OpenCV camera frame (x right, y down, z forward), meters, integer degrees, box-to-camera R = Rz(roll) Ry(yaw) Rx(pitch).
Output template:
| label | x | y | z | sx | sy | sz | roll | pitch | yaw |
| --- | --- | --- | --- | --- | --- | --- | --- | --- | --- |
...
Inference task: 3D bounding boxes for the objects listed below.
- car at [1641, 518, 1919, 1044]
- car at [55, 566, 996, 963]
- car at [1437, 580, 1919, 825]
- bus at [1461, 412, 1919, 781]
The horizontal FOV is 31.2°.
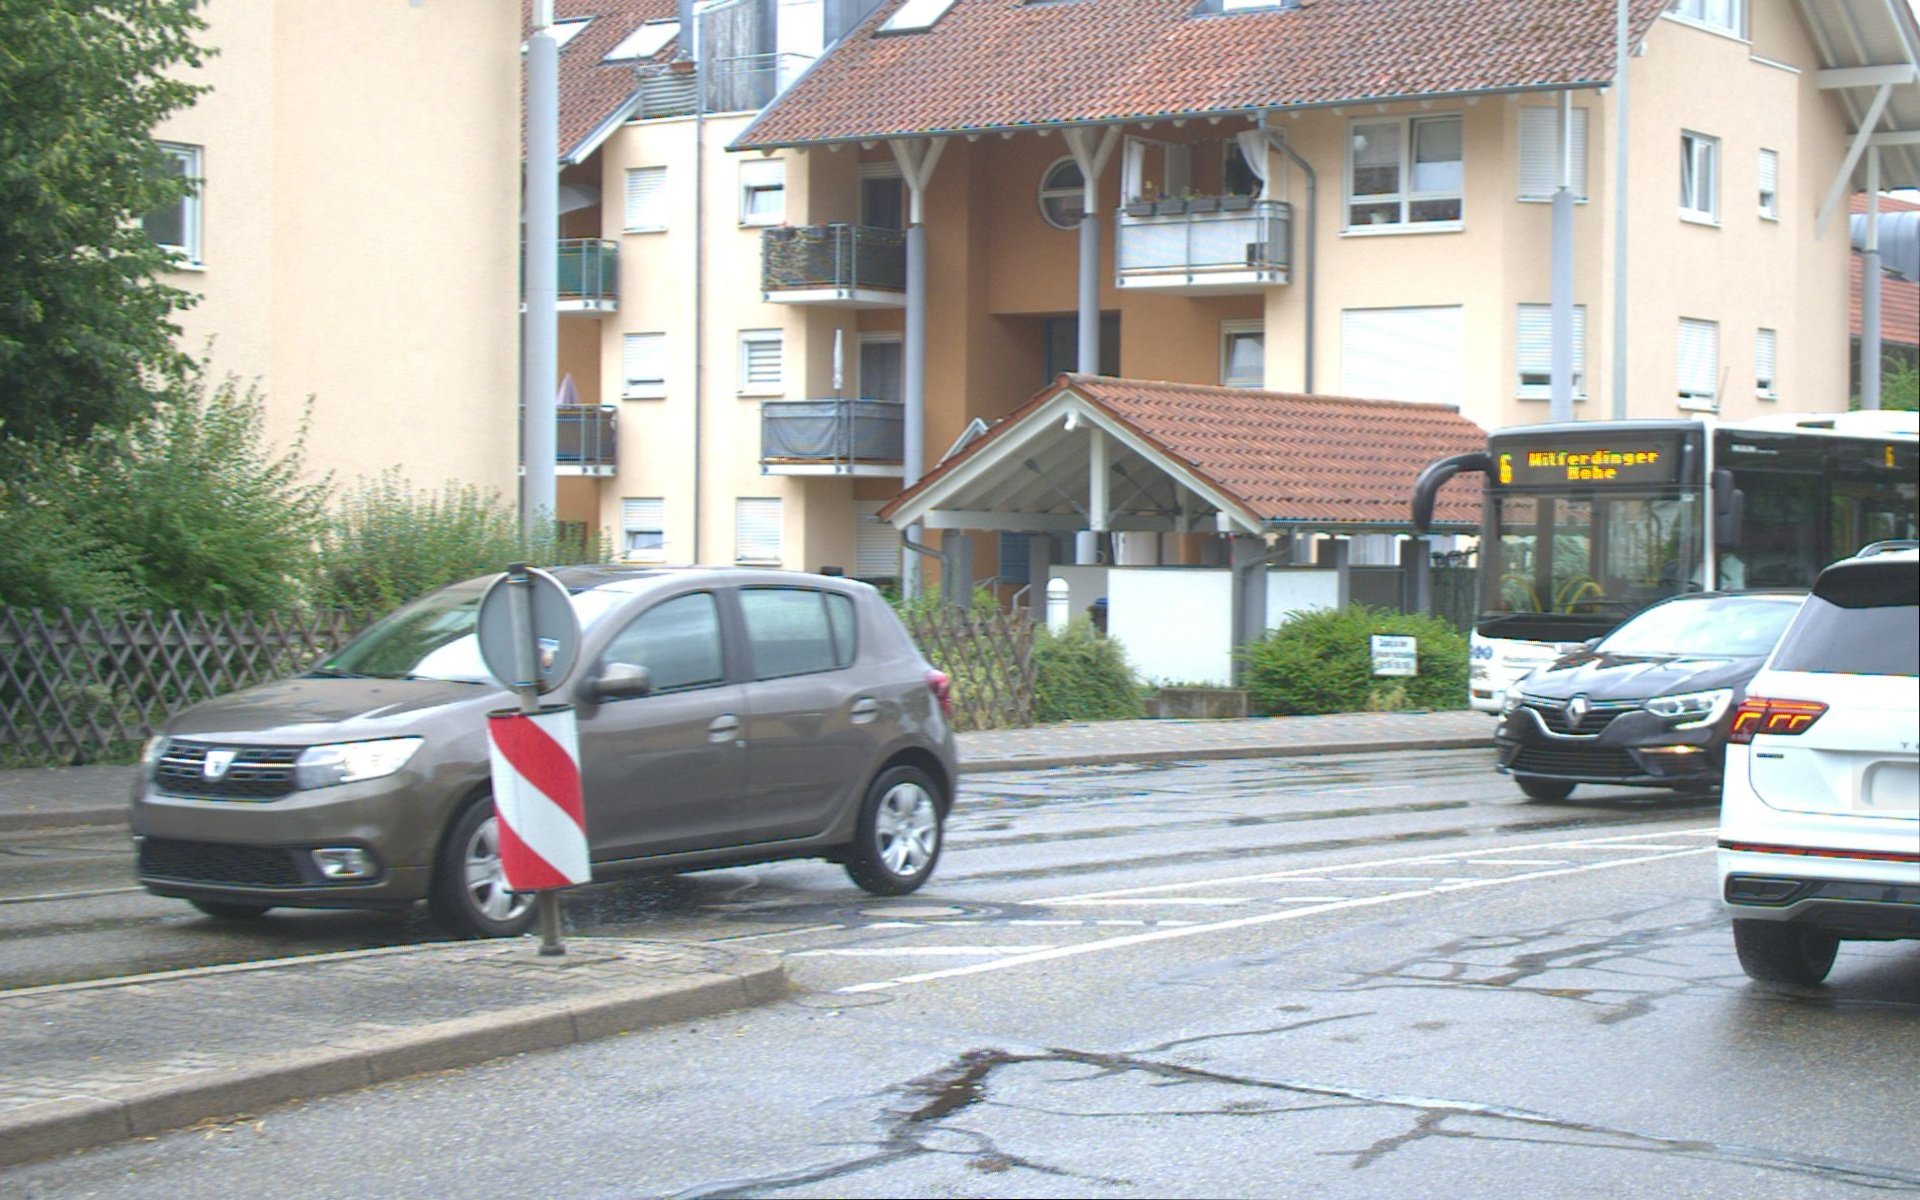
| label | x | y | z | sx | sy | sz | roll | pitch | yaw |
| --- | --- | --- | --- | --- | --- | --- | --- | --- | --- |
| car | 4.321 | 0.631 | 13.293 | 1.924 | 1.716 | 4.257 | 4 | 2 | 31 |
| car | -1.757 | 0.619 | 14.971 | 1.827 | 1.482 | 3.929 | 0 | 0 | 38 |
| car | 5.310 | 0.635 | 23.398 | 4.163 | 1.514 | 1.956 | 0 | 0 | -45 |
| bus | 8.799 | -0.089 | 31.608 | 9.176 | 2.990 | 2.554 | -1 | 0 | -37 |
